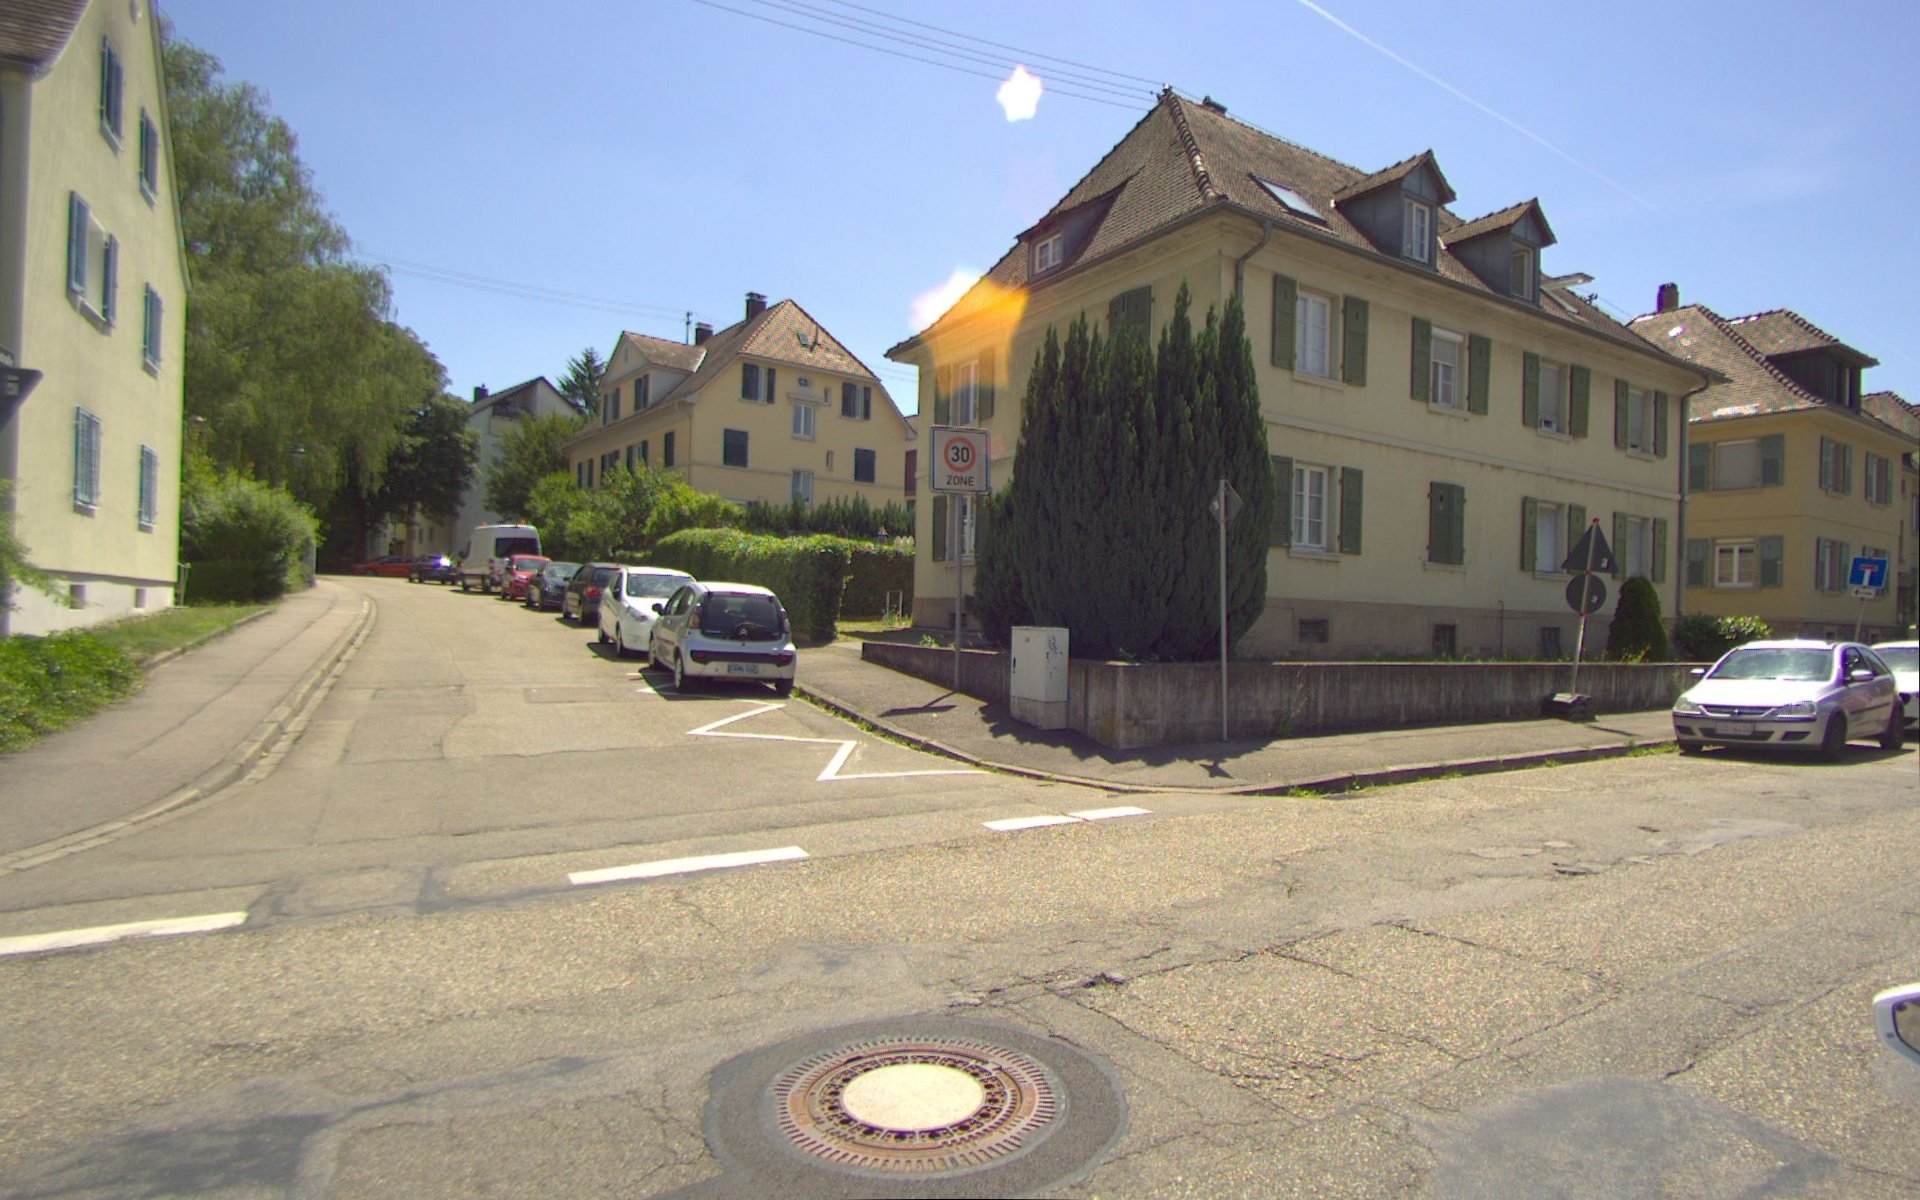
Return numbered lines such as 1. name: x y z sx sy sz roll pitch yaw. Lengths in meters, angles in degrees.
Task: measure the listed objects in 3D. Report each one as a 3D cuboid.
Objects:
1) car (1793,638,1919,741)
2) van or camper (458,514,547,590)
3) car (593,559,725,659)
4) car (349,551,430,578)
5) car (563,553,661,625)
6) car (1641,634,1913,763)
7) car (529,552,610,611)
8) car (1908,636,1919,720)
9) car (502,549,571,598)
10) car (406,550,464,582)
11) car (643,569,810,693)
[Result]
1. car: 14.804 1.323 15.617 4.176 1.420 1.783 2 -3 -34
2. van or camper: -18.262 -1.844 39.918 1.983 2.747 5.311 2 1 -38
3. car: -5.501 0.104 18.062 1.726 1.476 3.569 3 2 -25
4. car: -34.603 -2.148 60.964 3.972 1.496 1.974 1 1 -43
5. car: -8.478 -0.292 24.341 1.714 1.476 3.188 3 3 -29
6. car: 10.818 1.196 13.238 3.884 1.466 1.748 2 -3 -34
7. car: -11.420 -0.572 29.249 1.728 1.476 3.564 3 2 -29
8. car: 19.303 1.435 18.619 4.035 1.504 1.705 2 -3 -35
9. car: -14.593 -0.943 34.494 1.728 1.476 3.563 3 2 -30
10. car: -25.632 -1.686 49.029 1.723 1.476 3.171 1 2 -43
11. car: -3.524 0.392 14.743 1.712 1.476 3.191 3 3 -25
